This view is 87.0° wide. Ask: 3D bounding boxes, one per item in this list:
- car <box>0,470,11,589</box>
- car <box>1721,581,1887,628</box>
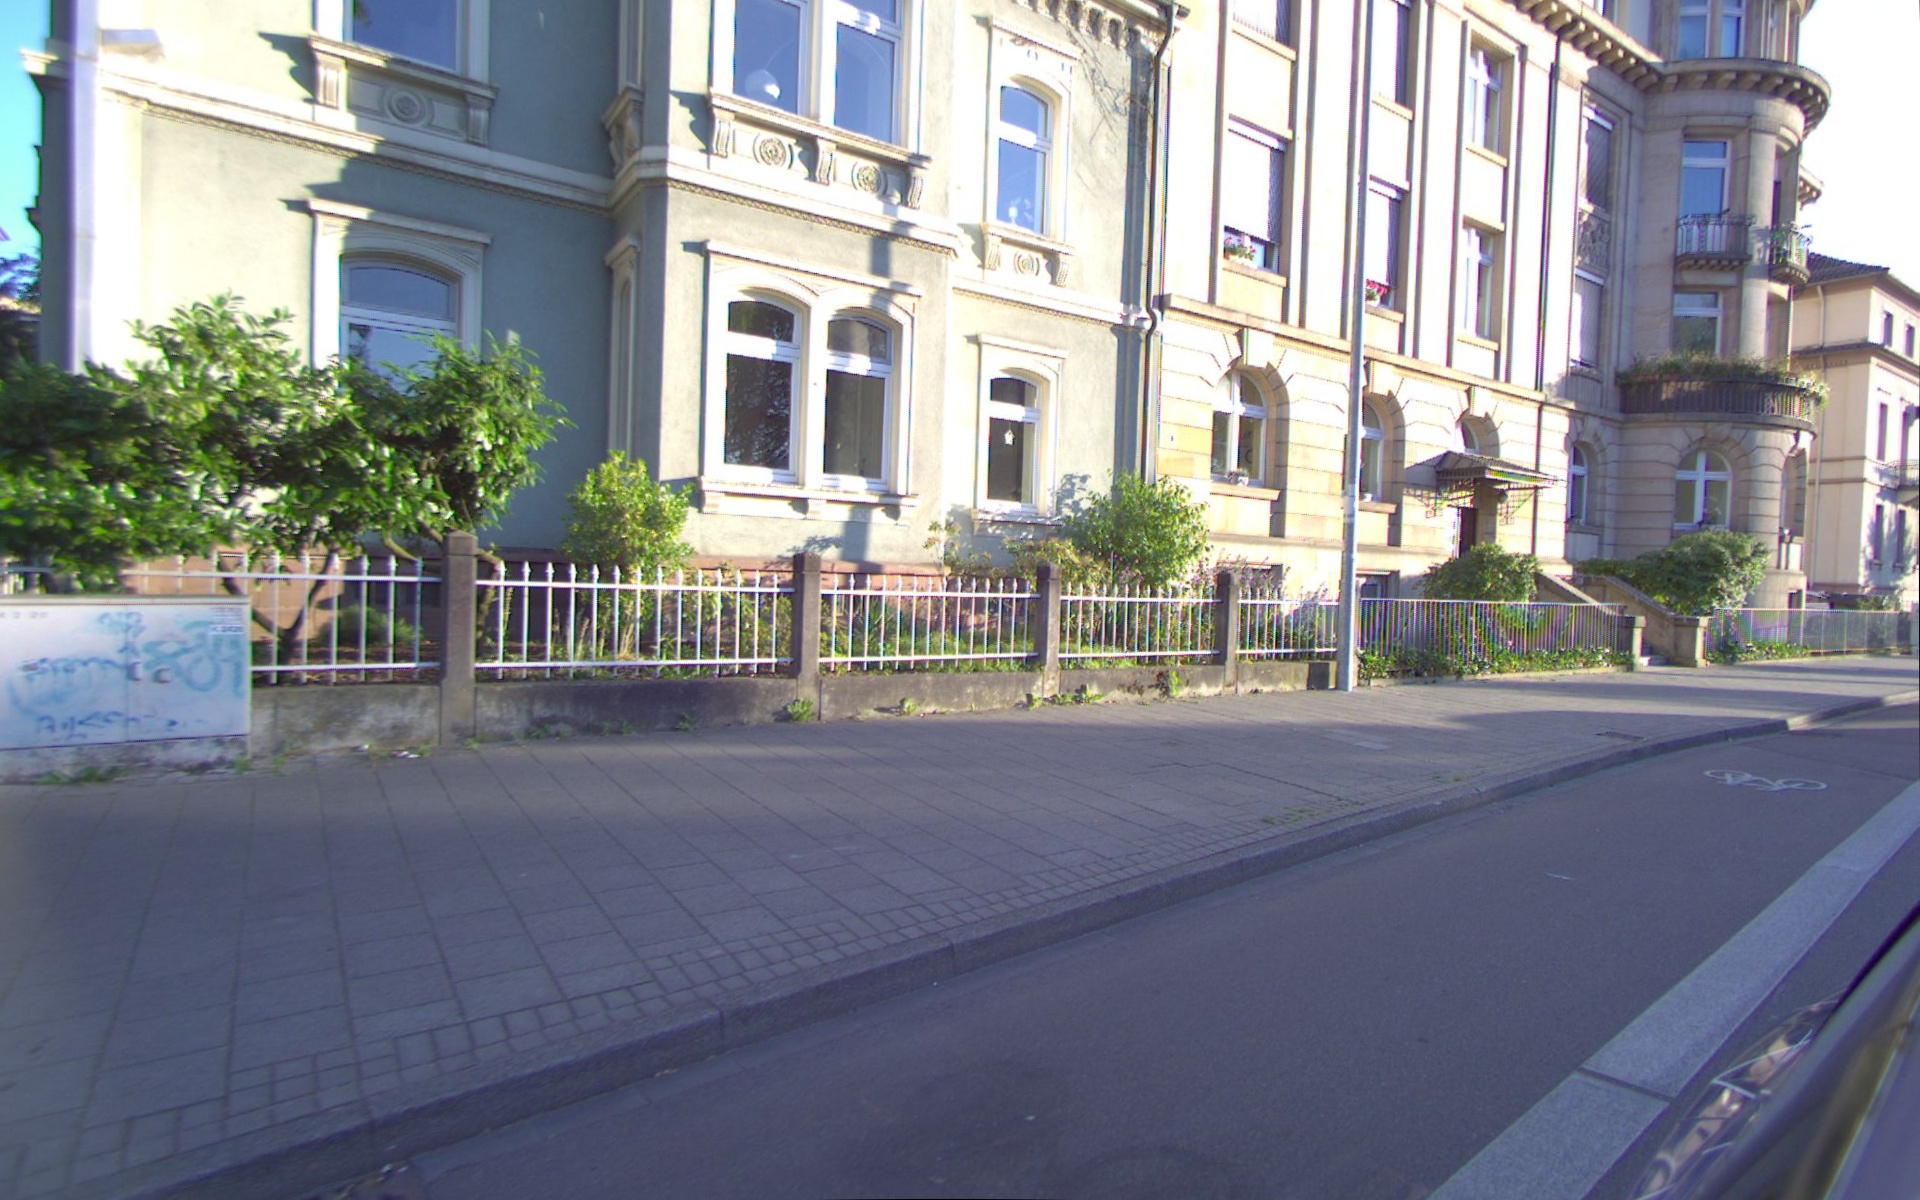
[{"bbox_3d":[-14.627,-1.013,14.073,1.793,1.778,4.519,2,3,-40],"label":"car"},{"bbox_3d":[29.688,0.122,35.707,1.901,1.499,4.102,1,1,-34],"label":"car"}]
